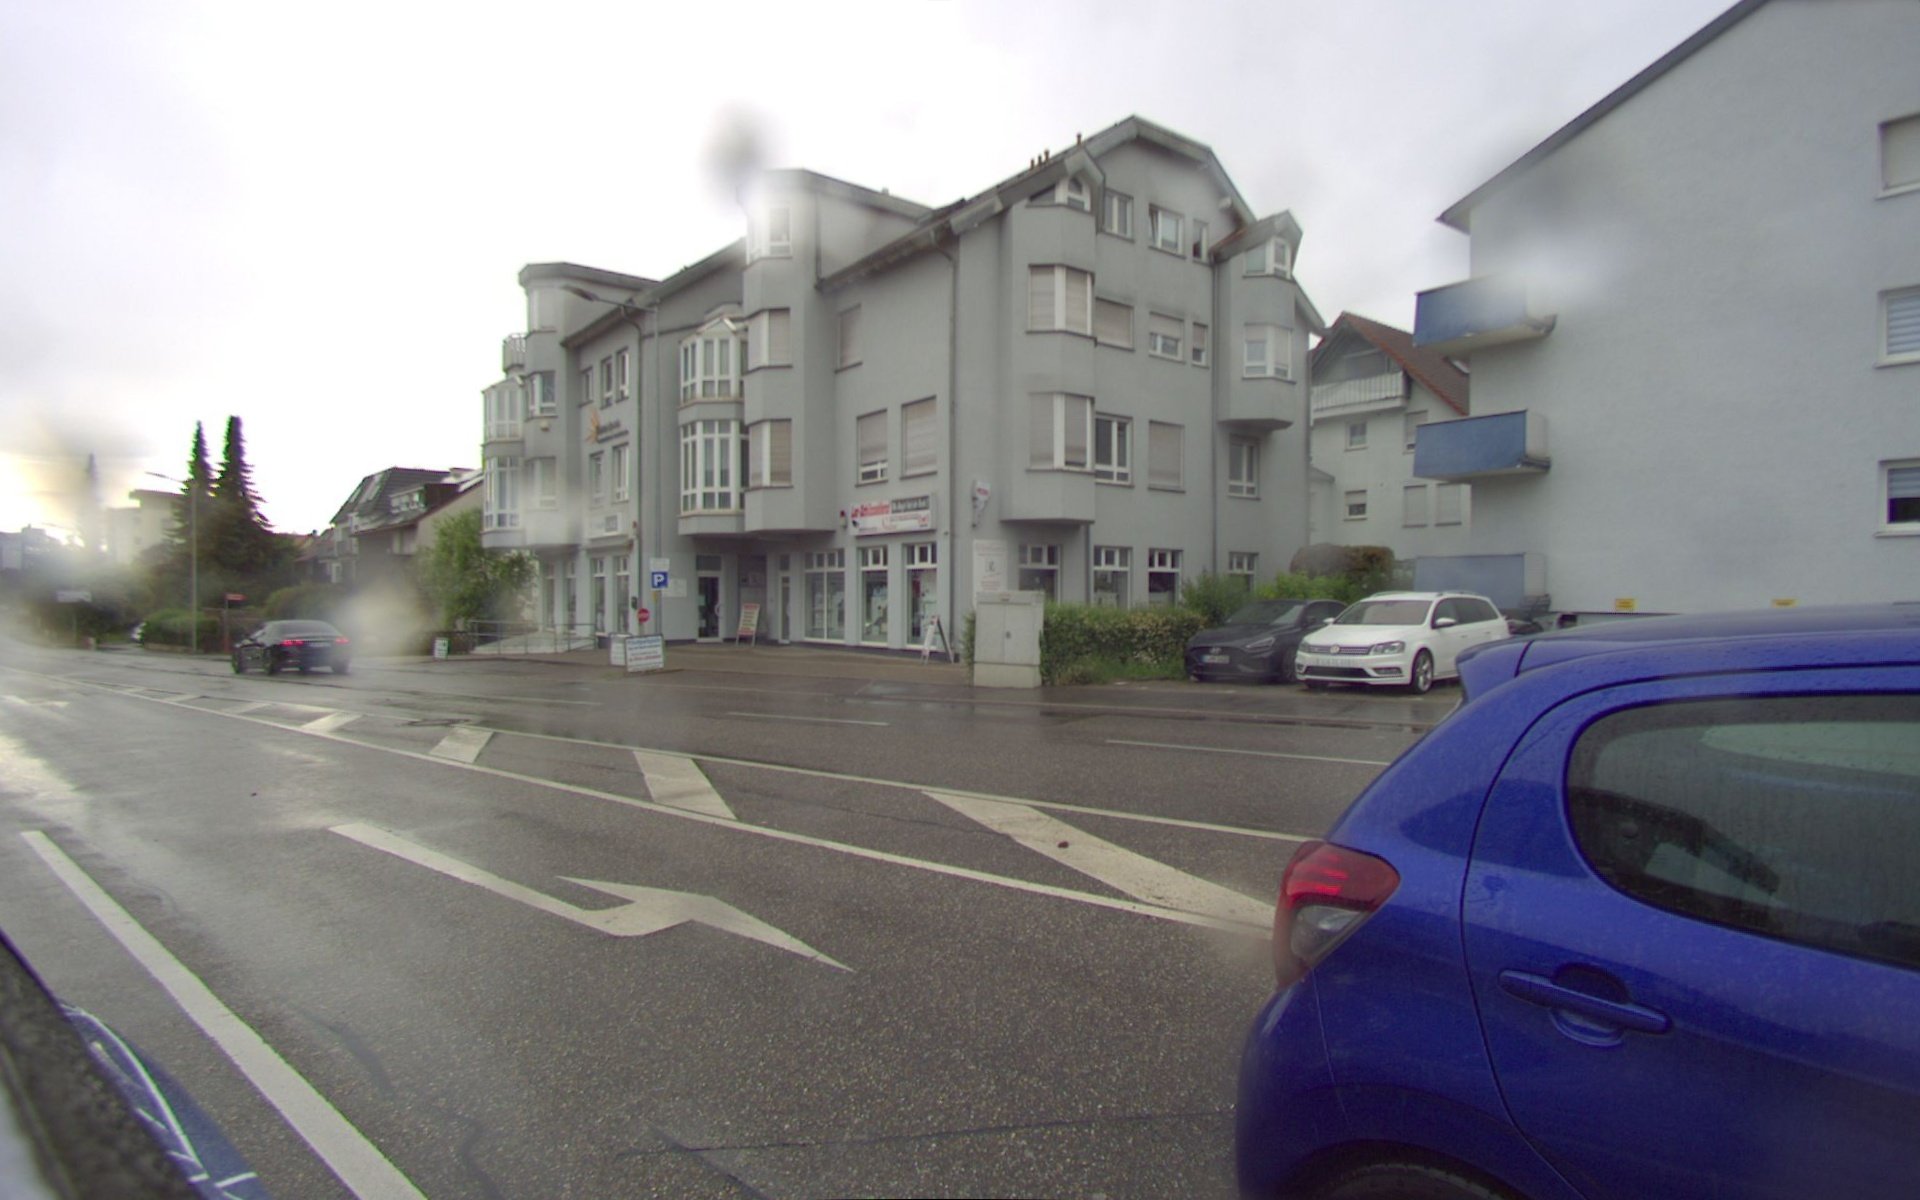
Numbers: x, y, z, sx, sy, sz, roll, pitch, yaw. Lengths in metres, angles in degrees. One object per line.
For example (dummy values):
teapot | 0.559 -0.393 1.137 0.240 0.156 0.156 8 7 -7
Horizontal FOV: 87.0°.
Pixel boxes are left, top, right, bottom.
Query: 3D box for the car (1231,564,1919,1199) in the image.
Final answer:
car | 2.231 0.640 1.200 3.362 1.423 1.489 -2 -1 41

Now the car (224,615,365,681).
car | -18.442 1.249 27.979 4.534 1.637 1.974 -1 0 39

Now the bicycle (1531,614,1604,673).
bicycle | 11.138 0.793 18.565 1.065 1.061 0.343 -2 -1 41

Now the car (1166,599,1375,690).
car | 5.488 0.691 17.654 1.851 1.366 3.941 -1 0 45

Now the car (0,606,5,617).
car | -164.075 2.003 172.381 1.971 1.832 4.003 -1 0 -45

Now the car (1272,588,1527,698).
car | 6.976 0.605 15.809 4.685 1.471 1.883 0 -2 -42
